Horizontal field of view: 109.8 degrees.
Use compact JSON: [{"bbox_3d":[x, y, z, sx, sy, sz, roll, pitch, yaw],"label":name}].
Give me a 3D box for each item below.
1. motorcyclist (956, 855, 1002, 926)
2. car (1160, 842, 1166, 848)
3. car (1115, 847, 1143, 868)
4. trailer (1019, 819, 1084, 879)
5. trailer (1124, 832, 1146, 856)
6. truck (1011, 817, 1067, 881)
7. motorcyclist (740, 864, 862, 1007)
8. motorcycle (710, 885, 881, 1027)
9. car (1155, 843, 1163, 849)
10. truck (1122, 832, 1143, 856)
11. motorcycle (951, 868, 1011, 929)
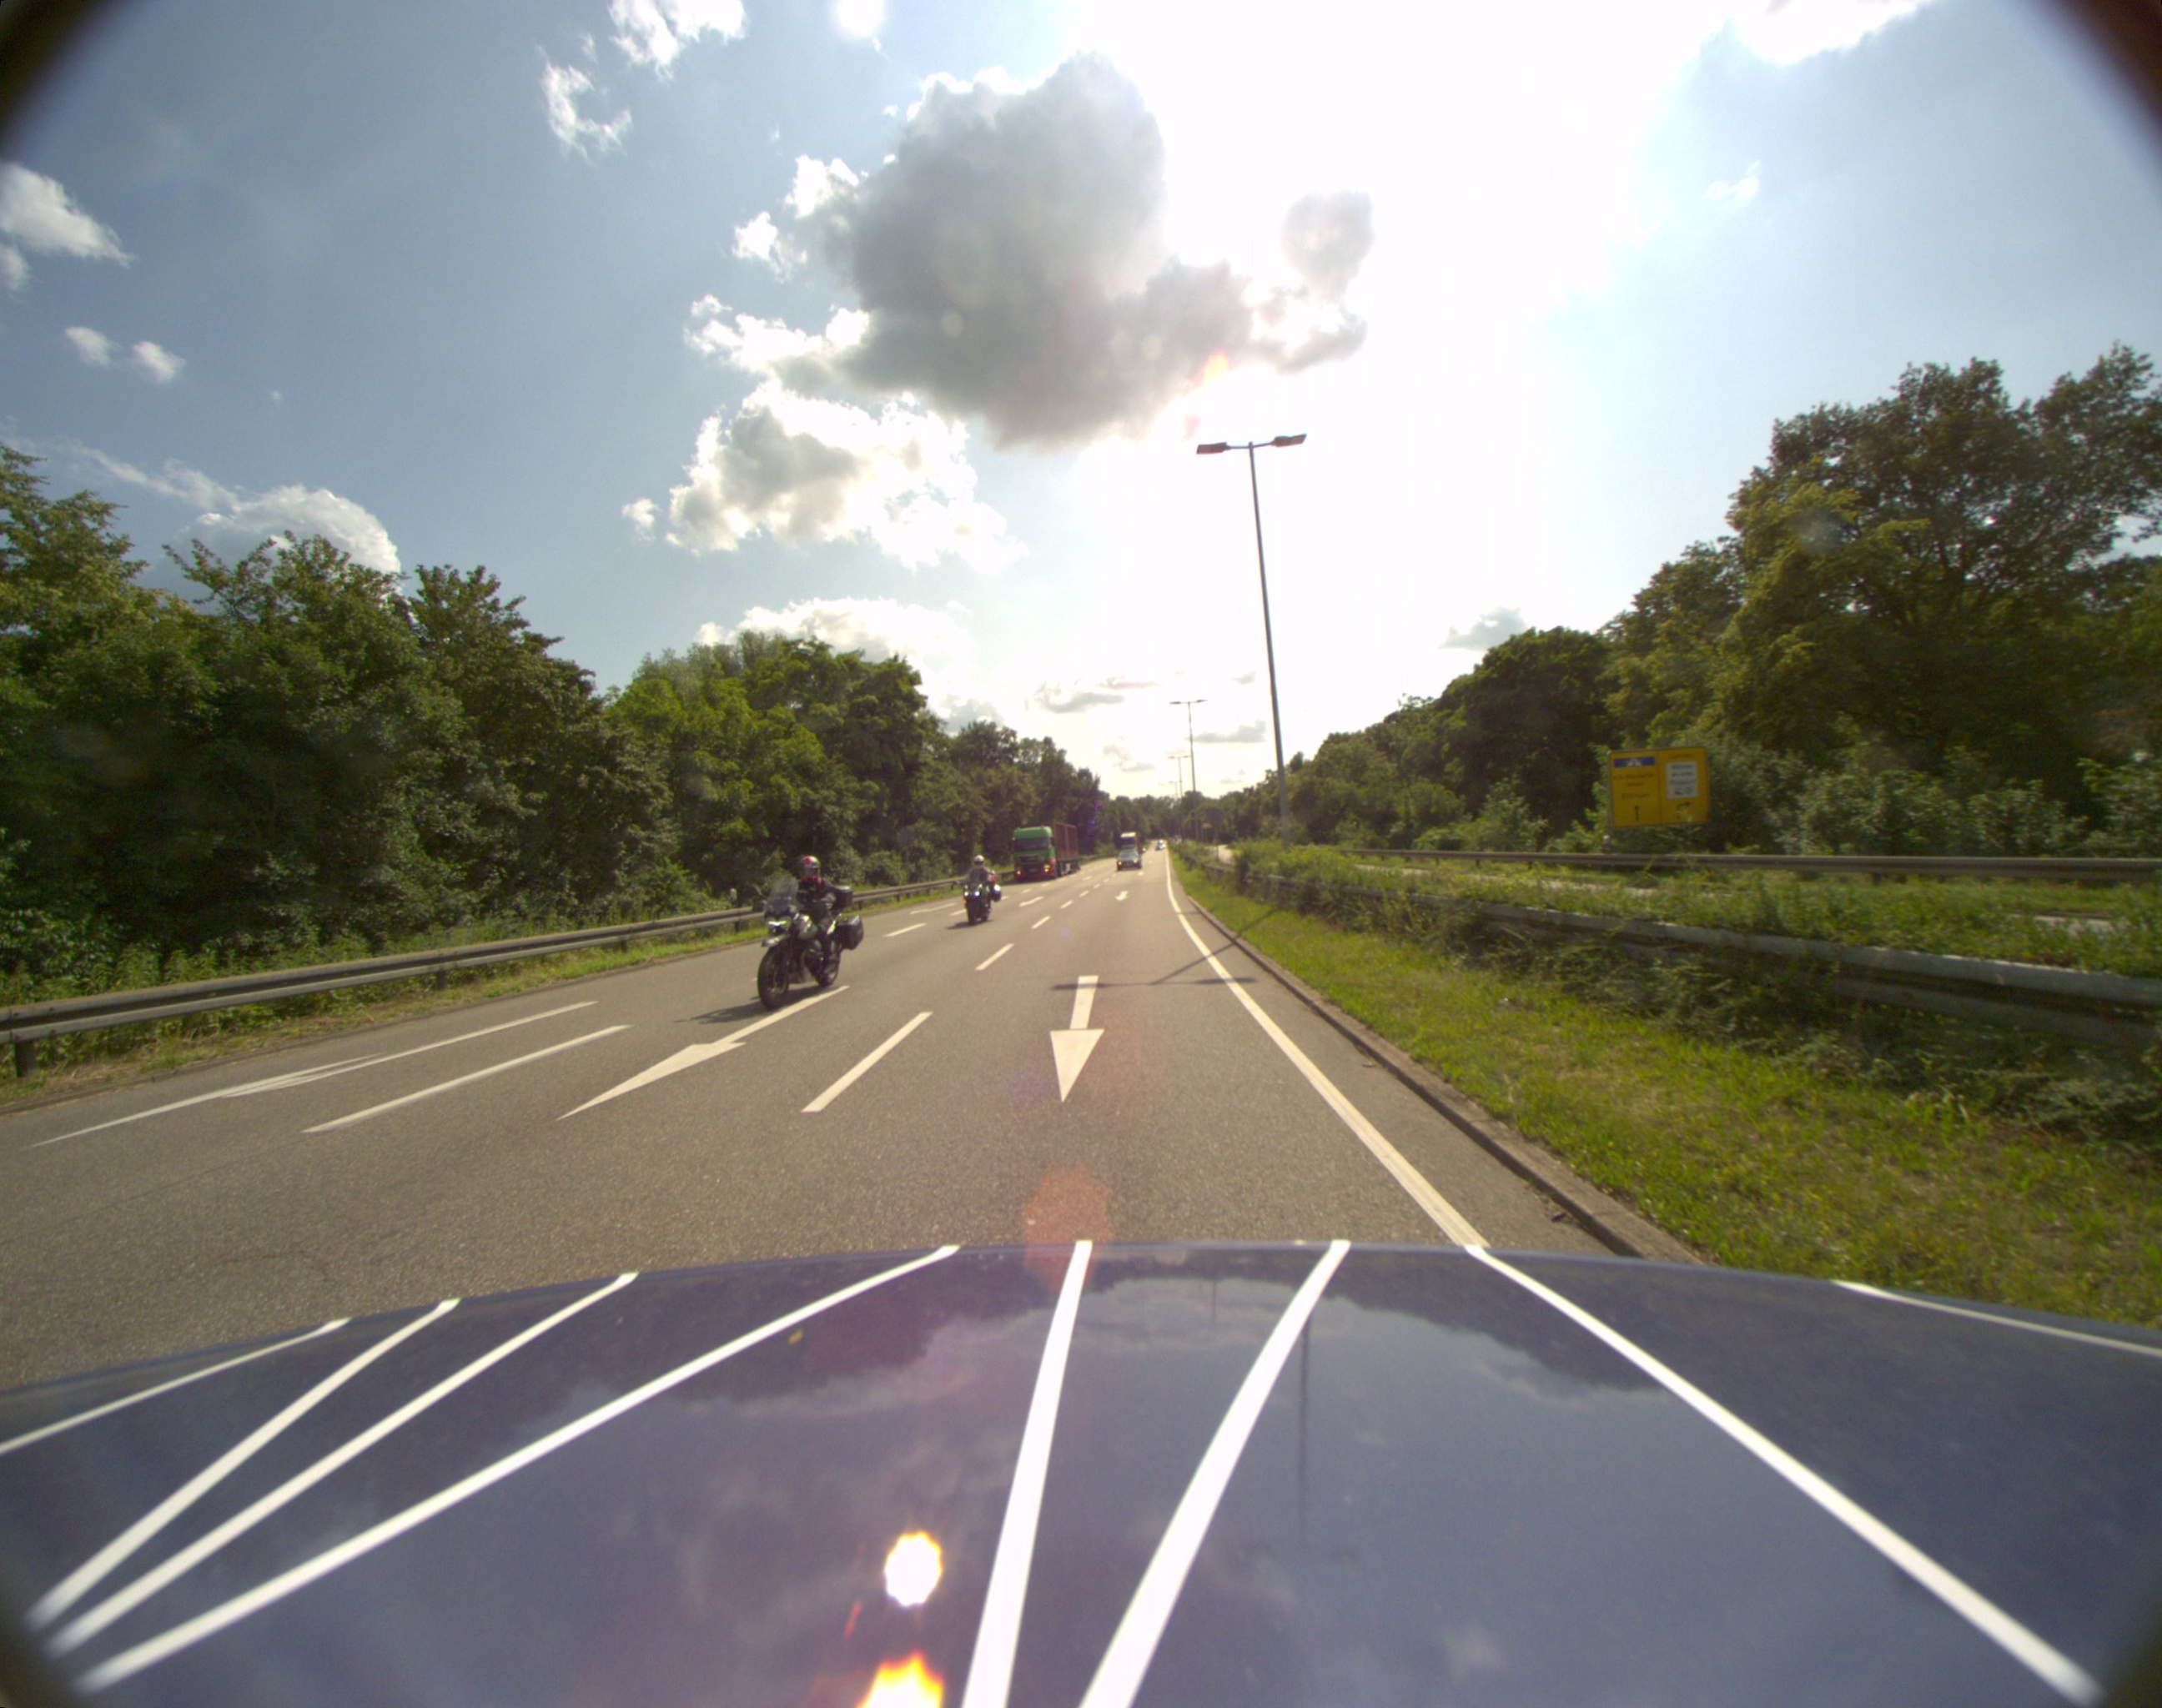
[{"bbox_3d":[-2.547,0.892,19.057,0.867,1.690,0.895,-3,0,7],"label":"motorcyclist"},{"bbox_3d":[23.797,-2.611,220.696,1.796,1.368,4.002,-3,0,7],"label":"car"},{"bbox_3d":[3.681,0.262,57.685,1.735,1.468,4.049,-3,0,7],"label":"car"},{"bbox_3d":[-1.968,-0.386,58.721,2.590,3.871,14.507,-5,0,6],"label":"trailer"},{"bbox_3d":[10.015,-1.788,138.933,2.693,3.948,12.399,-5,0,9],"label":"trailer"},{"bbox_3d":[-2.744,-0.326,51.400,2.590,3.871,6.063,-5,0,5],"label":"truck"},{"bbox_3d":[-3.370,0.950,9.261,0.939,1.581,1.084,-3,0,6],"label":"motorcyclist"},{"bbox_3d":[-3.354,1.138,9.271,0.939,1.375,2.371,-3,0,6],"label":"motorcycle"},{"bbox_3d":[20.240,-2.121,196.372,1.796,1.368,4.002,-3,0,7],"label":"car"},{"bbox_3d":[8.959,-1.707,132.346,2.689,3.948,7.387,-5,0,9],"label":"truck"},{"bbox_3d":[-2.500,1.082,19.324,0.867,1.381,2.371,-3,0,8],"label":"motorcycle"}]
